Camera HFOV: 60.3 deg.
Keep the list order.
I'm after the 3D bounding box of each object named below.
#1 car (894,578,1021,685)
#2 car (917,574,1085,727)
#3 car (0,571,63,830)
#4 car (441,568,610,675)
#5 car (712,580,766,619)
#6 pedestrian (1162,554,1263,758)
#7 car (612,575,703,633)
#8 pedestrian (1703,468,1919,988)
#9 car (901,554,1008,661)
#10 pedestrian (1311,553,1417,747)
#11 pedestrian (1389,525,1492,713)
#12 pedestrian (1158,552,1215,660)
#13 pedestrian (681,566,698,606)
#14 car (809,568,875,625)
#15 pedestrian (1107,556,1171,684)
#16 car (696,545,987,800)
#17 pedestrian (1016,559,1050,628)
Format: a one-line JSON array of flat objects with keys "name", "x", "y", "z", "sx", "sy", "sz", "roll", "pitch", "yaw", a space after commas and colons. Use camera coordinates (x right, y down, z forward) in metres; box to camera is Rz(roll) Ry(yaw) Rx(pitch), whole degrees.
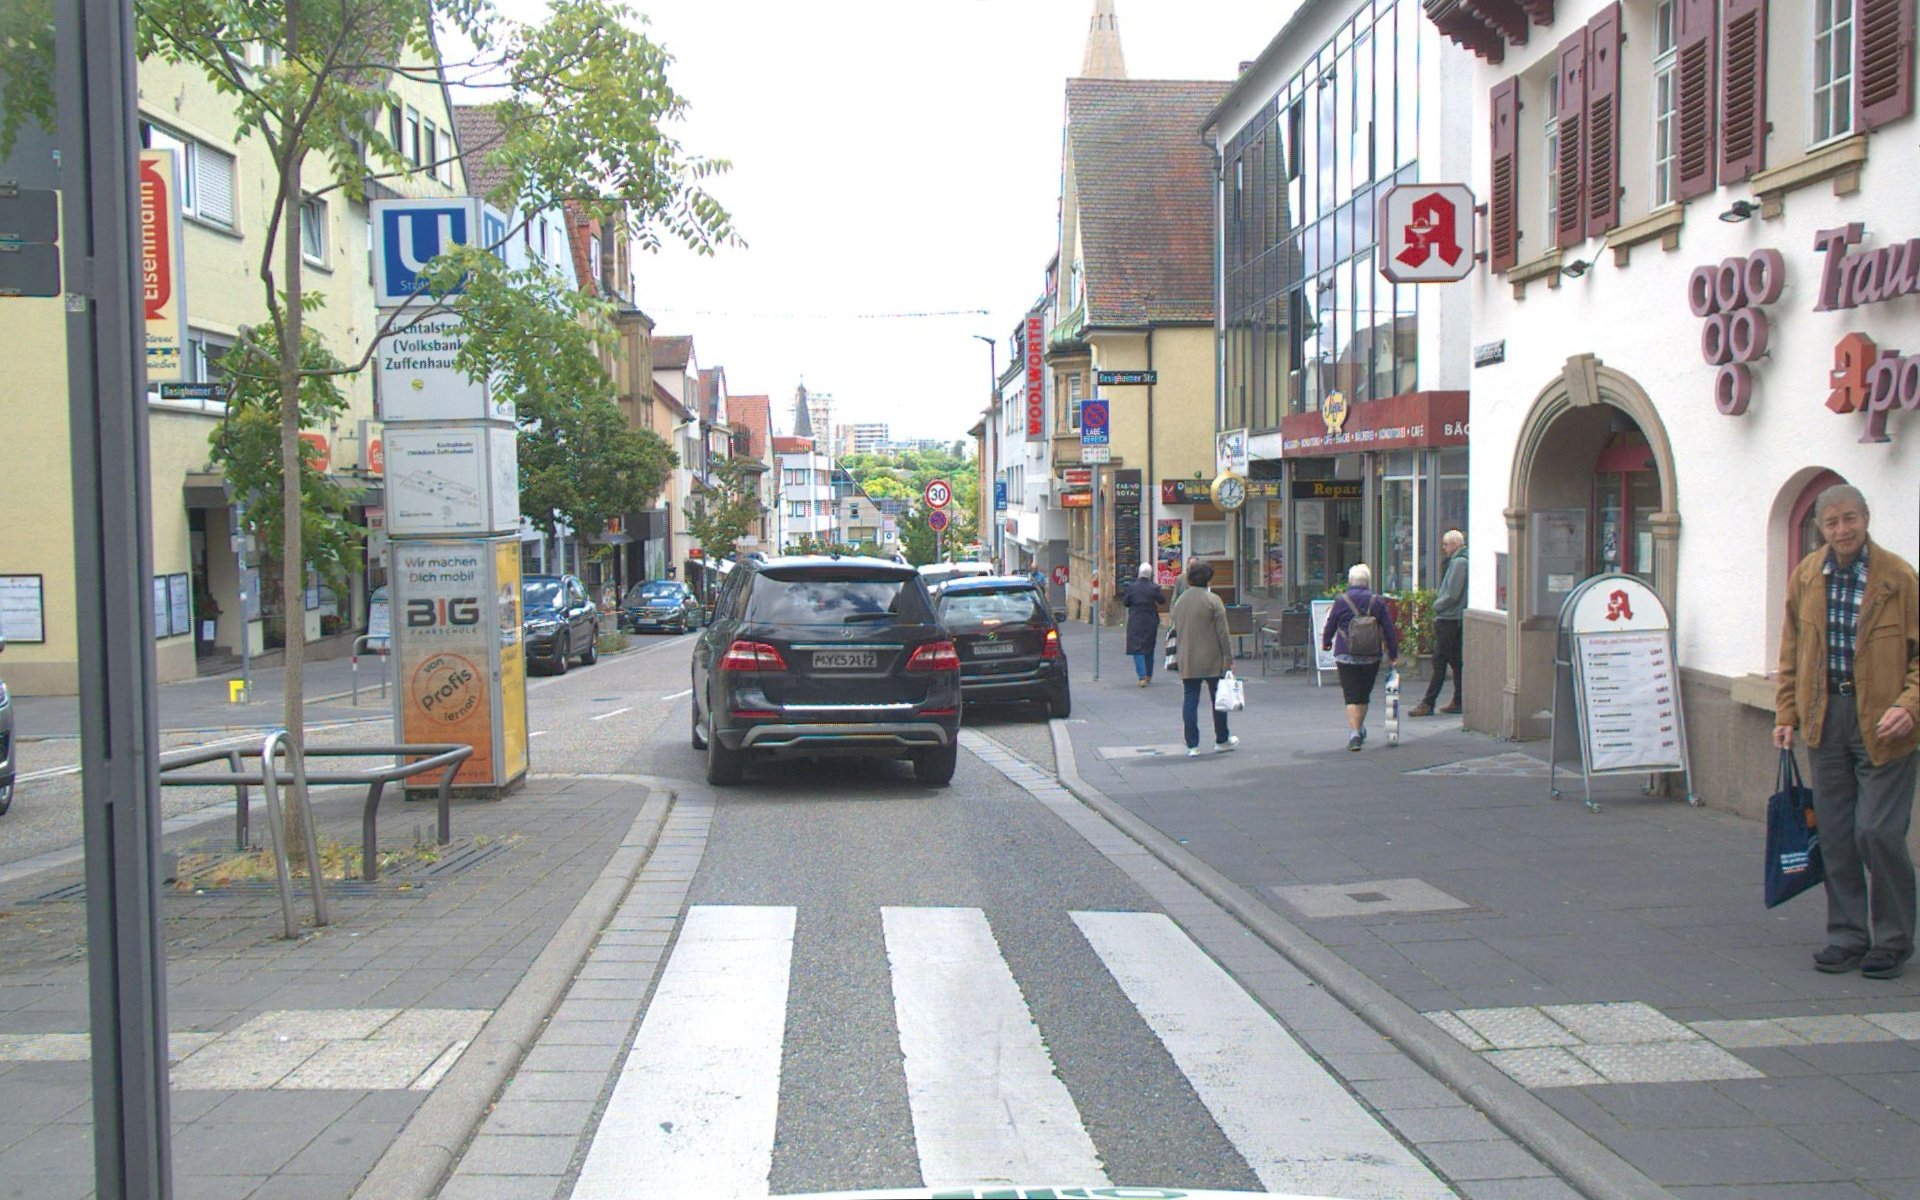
[{"name": "car", "x": -0.112, "y": 0.420, "z": 25.817, "sx": 1.669, "sy": 1.493, "sz": 3.997, "roll": -2, "pitch": 1, "yaw": -4}, {"name": "car", "x": 0.402, "y": 0.515, "z": 19.707, "sx": 1.767, "sy": 1.582, "sz": 3.953, "roll": -2, "pitch": 1, "yaw": -1}, {"name": "car", "x": -8.019, "y": 0.676, "z": 11.762, "sx": 1.953, "sy": 1.649, "sz": 4.289, "roll": -2, "pitch": 1, "yaw": -41}, {"name": "car", "x": -7.718, "y": 0.319, "z": 29.817, "sx": 1.966, "sy": 1.723, "sz": 4.606, "roll": 1, "pitch": 1, "yaw": -2}, {"name": "car", "x": -9.269, "y": -0.047, "z": 69.763, "sx": 1.888, "sy": 1.537, "sz": 4.260, "roll": 1, "pitch": 1, "yaw": -3}, {"name": "pedestrian", "x": 2.140, "y": 0.459, "z": 14.112, "sx": 0.756, "sy": 1.674, "sz": 0.870, "roll": -1, "pitch": 1, "yaw": 4}, {"name": "car", "x": -8.514, "y": 0.082, "z": 46.933, "sx": 1.888, "sy": 1.518, "sz": 4.840, "roll": 1, "pitch": 1, "yaw": -3}, {"name": "pedestrian", "x": 3.303, "y": 0.448, "z": 6.164, "sx": 0.769, "sy": 1.833, "sz": 0.676, "roll": -1, "pitch": 1, "yaw": 4}, {"name": "car", "x": -0.023, "y": 0.090, "z": 30.937, "sx": 1.838, "sy": 1.831, "sz": 4.733, "roll": -1, "pitch": 1, "yaw": 2}, {"name": "pedestrian", "x": 3.377, "y": 0.402, "z": 13.879, "sx": 0.709, "sy": 1.558, "sz": 0.808, "roll": -1, "pitch": 1, "yaw": 4}, {"name": "pedestrian", "x": 4.753, "y": 0.176, "z": 16.398, "sx": 0.758, "sy": 1.800, "sz": 0.817, "roll": -1, "pitch": 1, "yaw": 0}, {"name": "pedestrian", "x": 3.740, "y": 0.089, "z": 27.341, "sx": 0.845, "sy": 1.737, "sz": 0.945, "roll": -1, "pitch": 1, "yaw": 4}, {"name": "pedestrian", "x": -10.332, "y": -0.536, "z": 63.204, "sx": 0.480, "sy": 1.489, "sz": 0.559, "roll": 1, "pitch": 0, "yaw": 7}, {"name": "car", "x": -3.405, "y": -0.121, "z": 48.286, "sx": 1.749, "sy": 1.567, "sz": 3.743, "roll": -1, "pitch": 1, "yaw": -2}, {"name": "pedestrian", "x": 2.419, "y": 0.257, "z": 22.410, "sx": 0.806, "sy": 1.695, "sz": 0.802, "roll": -1, "pitch": 1, "yaw": 4}, {"name": "car", "x": -1.147, "y": 0.476, "z": 13.743, "sx": 1.909, "sy": 1.770, "sz": 4.167, "roll": 0, "pitch": 1, "yaw": -11}, {"name": "pedestrian", "x": 1.900, "y": -0.178, "z": 43.208, "sx": 0.780, "sy": 1.757, "sz": 1.052, "roll": -1, "pitch": 0, "yaw": -2}]
